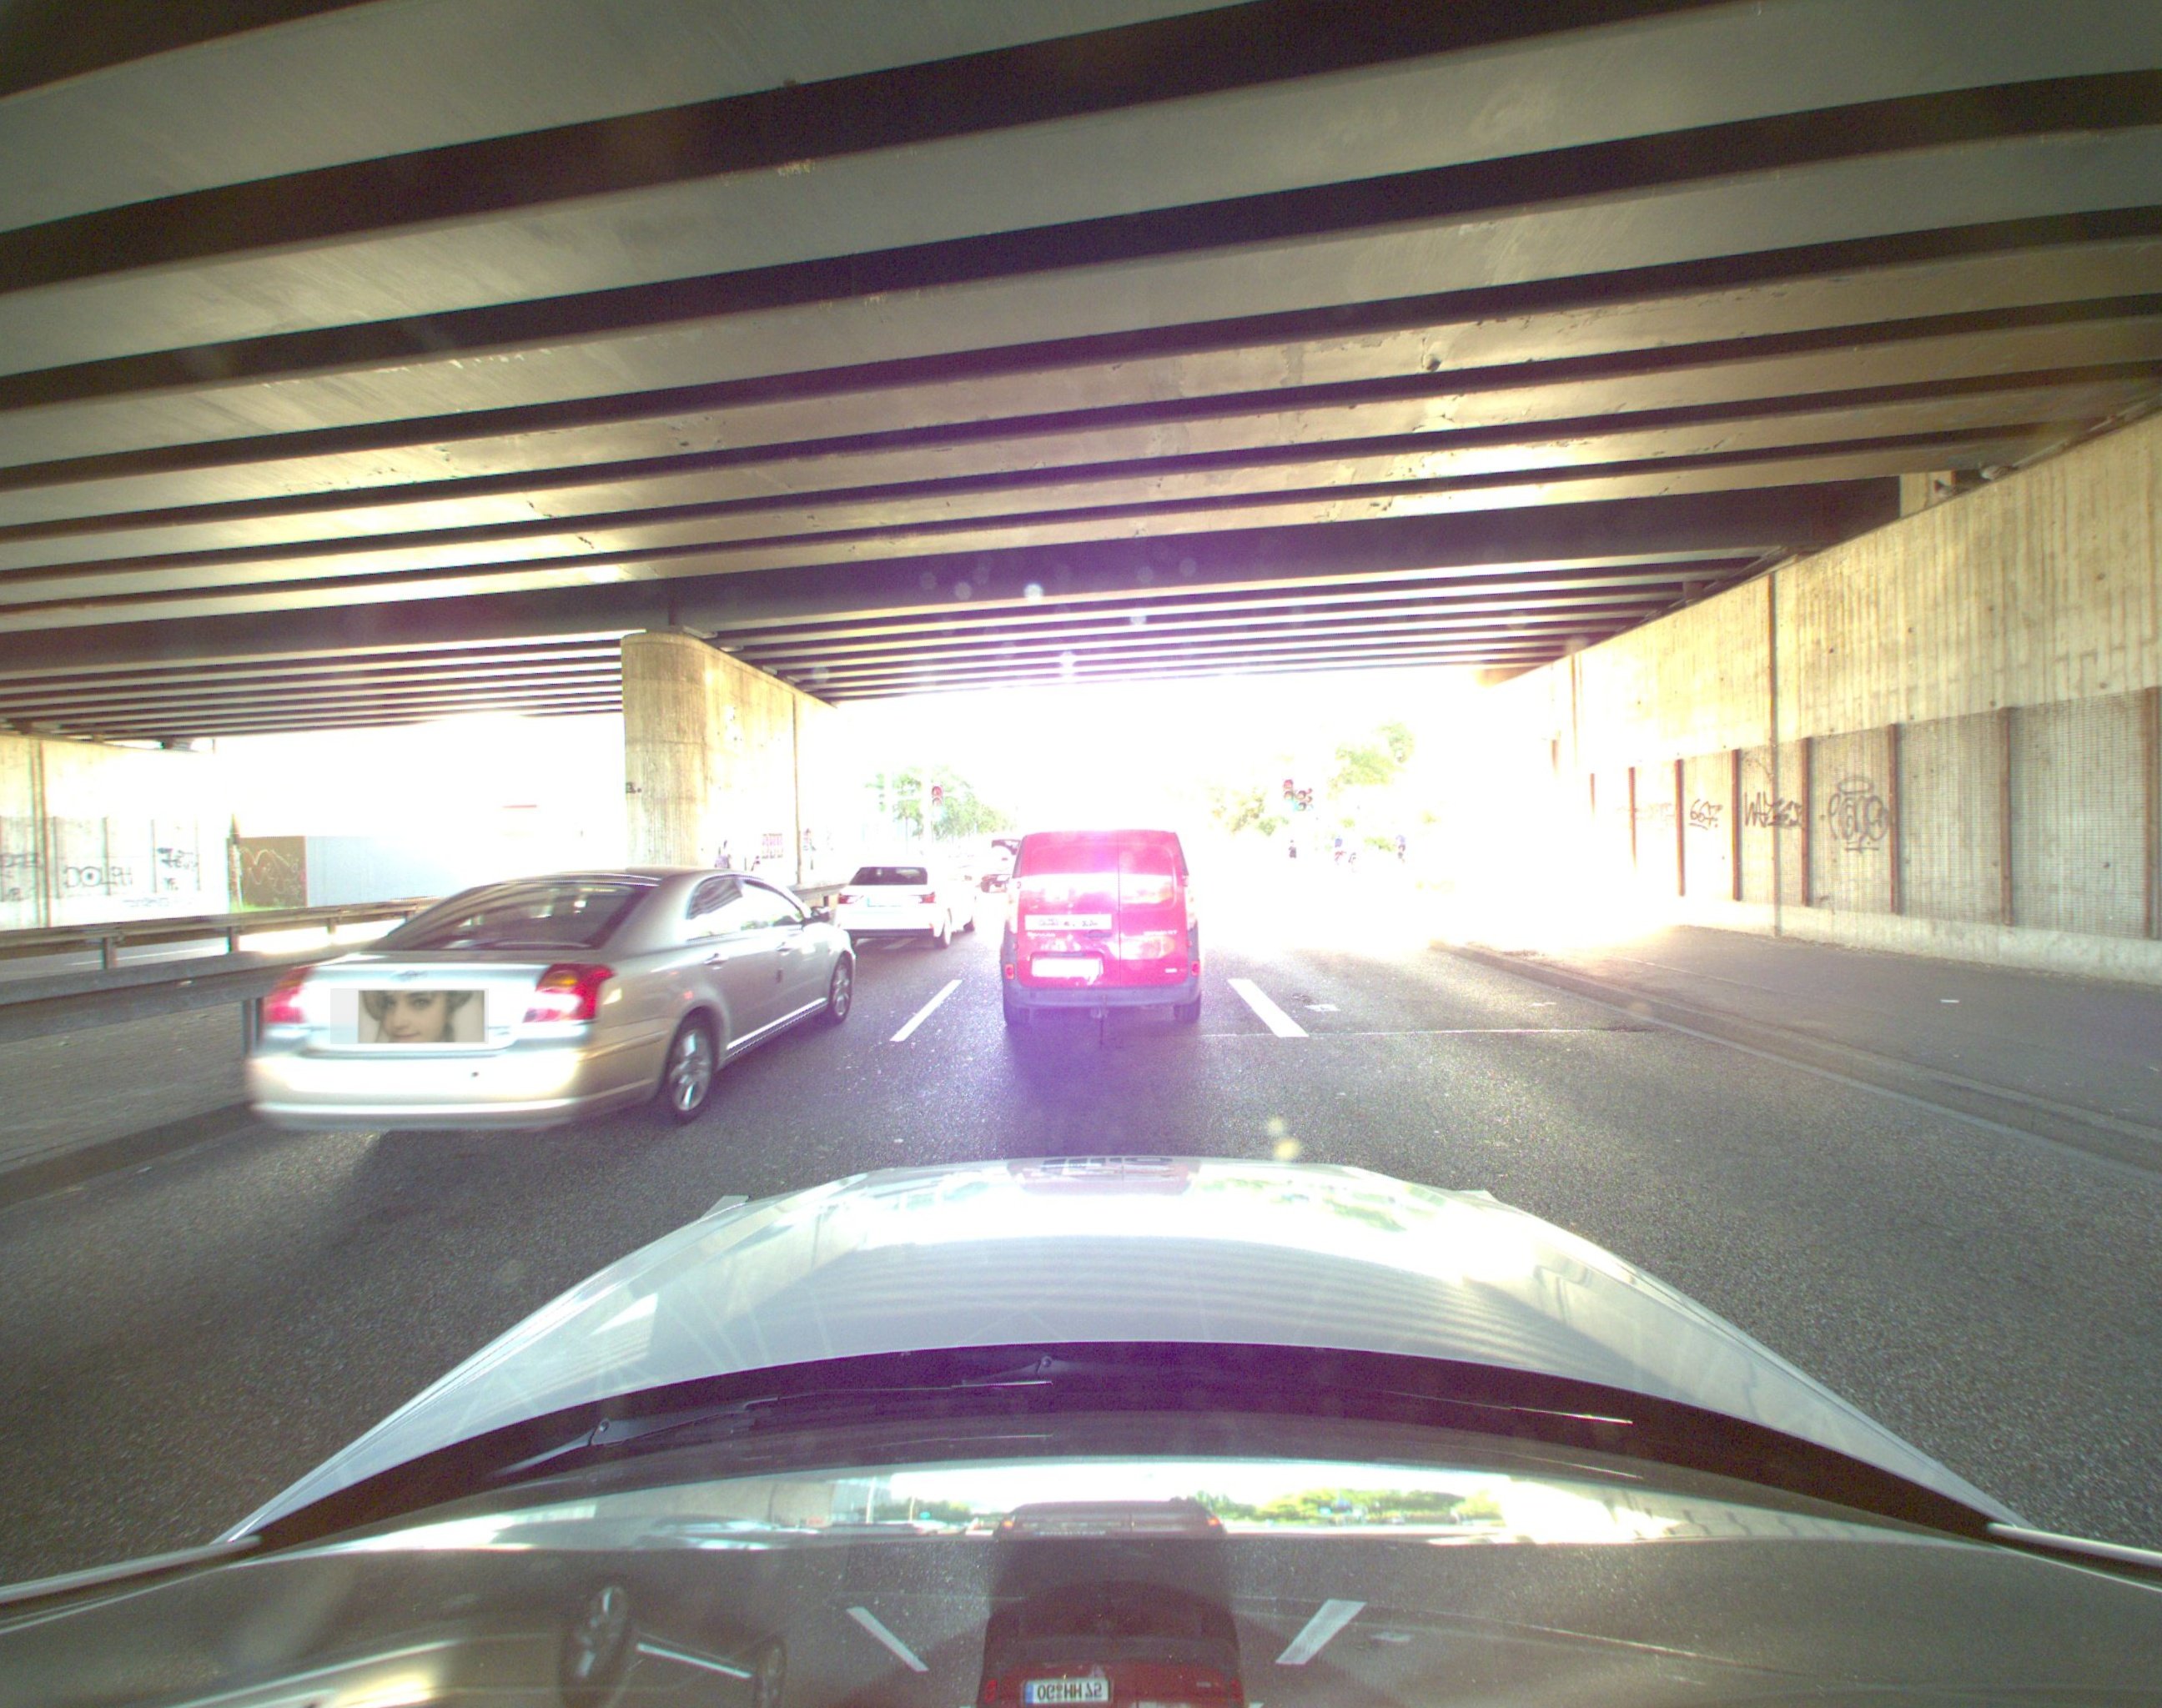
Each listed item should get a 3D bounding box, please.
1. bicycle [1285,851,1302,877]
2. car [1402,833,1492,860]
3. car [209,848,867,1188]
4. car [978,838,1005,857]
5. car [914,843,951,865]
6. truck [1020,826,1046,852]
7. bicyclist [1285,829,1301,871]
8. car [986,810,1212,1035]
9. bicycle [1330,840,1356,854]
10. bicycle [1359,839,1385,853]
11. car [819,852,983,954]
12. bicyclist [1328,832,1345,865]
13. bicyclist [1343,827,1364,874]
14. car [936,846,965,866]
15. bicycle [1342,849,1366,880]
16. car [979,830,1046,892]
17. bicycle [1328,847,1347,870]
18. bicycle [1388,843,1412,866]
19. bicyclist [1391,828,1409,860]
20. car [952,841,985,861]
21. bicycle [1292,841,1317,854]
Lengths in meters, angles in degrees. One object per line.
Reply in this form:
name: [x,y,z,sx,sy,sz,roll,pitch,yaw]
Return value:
bicycle: [8.388,0.388,32.196,0.587,1.023,1.757,-1,-1,13]
car: [21.593,-0.412,48.171,4.521,1.514,1.832,-1,-1,9]
car: [-2.994,0.732,5.799,1.727,1.480,4.319,-1,0,0]
car: [-7.714,-0.561,70.615,1.629,1.443,4.080,-4,0,3]
car: [-13.064,-0.010,71.839,1.815,1.737,4.637,-4,0,6]
truck: [-5.890,-1.831,101.045,2.399,3.026,6.661,-4,0,3]
bicyclist: [8.369,-0.150,32.199,0.587,1.613,0.946,-1,-1,13]
car: [0.206,0.569,8.537,1.798,1.794,4.001,0,-1,2]
bicycle: [19.482,-0.528,60.620,1.734,1.023,0.595,-1,-1,10]
bicycle: [21.257,-0.576,59.543,1.733,1.023,0.596,-1,-1,13]
car: [-2.887,0.718,13.892,1.806,1.438,3.733,-1,1,2]
bicyclist: [11.449,-0.229,36.462,0.660,1.474,0.754,-1,-1,14]
bicyclist: [9.166,-0.113,27.433,0.587,1.548,0.772,-1,-1,13]
car: [-12.715,0.174,79.593,1.818,1.737,4.532,-4,0,2]
bicycle: [9.184,0.357,27.441,0.587,1.023,1.757,-1,-1,13]
car: [-2.306,0.242,28.385,1.794,1.989,4.591,0,-1,2]
bicycle: [11.496,0.204,36.550,0.667,1.023,2.063,-1,-1,14]
bicycle: [15.351,0.003,39.208,0.663,1.023,1.755,-1,3,8]
bicyclist: [15.323,-0.483,39.131,0.645,1.480,0.620,-1,1,8]
car: [-10.126,-0.269,73.564,1.815,1.625,4.537,-4,0,6]
bicycle: [17.033,-0.498,62.095,1.734,1.023,0.595,-1,-1,10]
